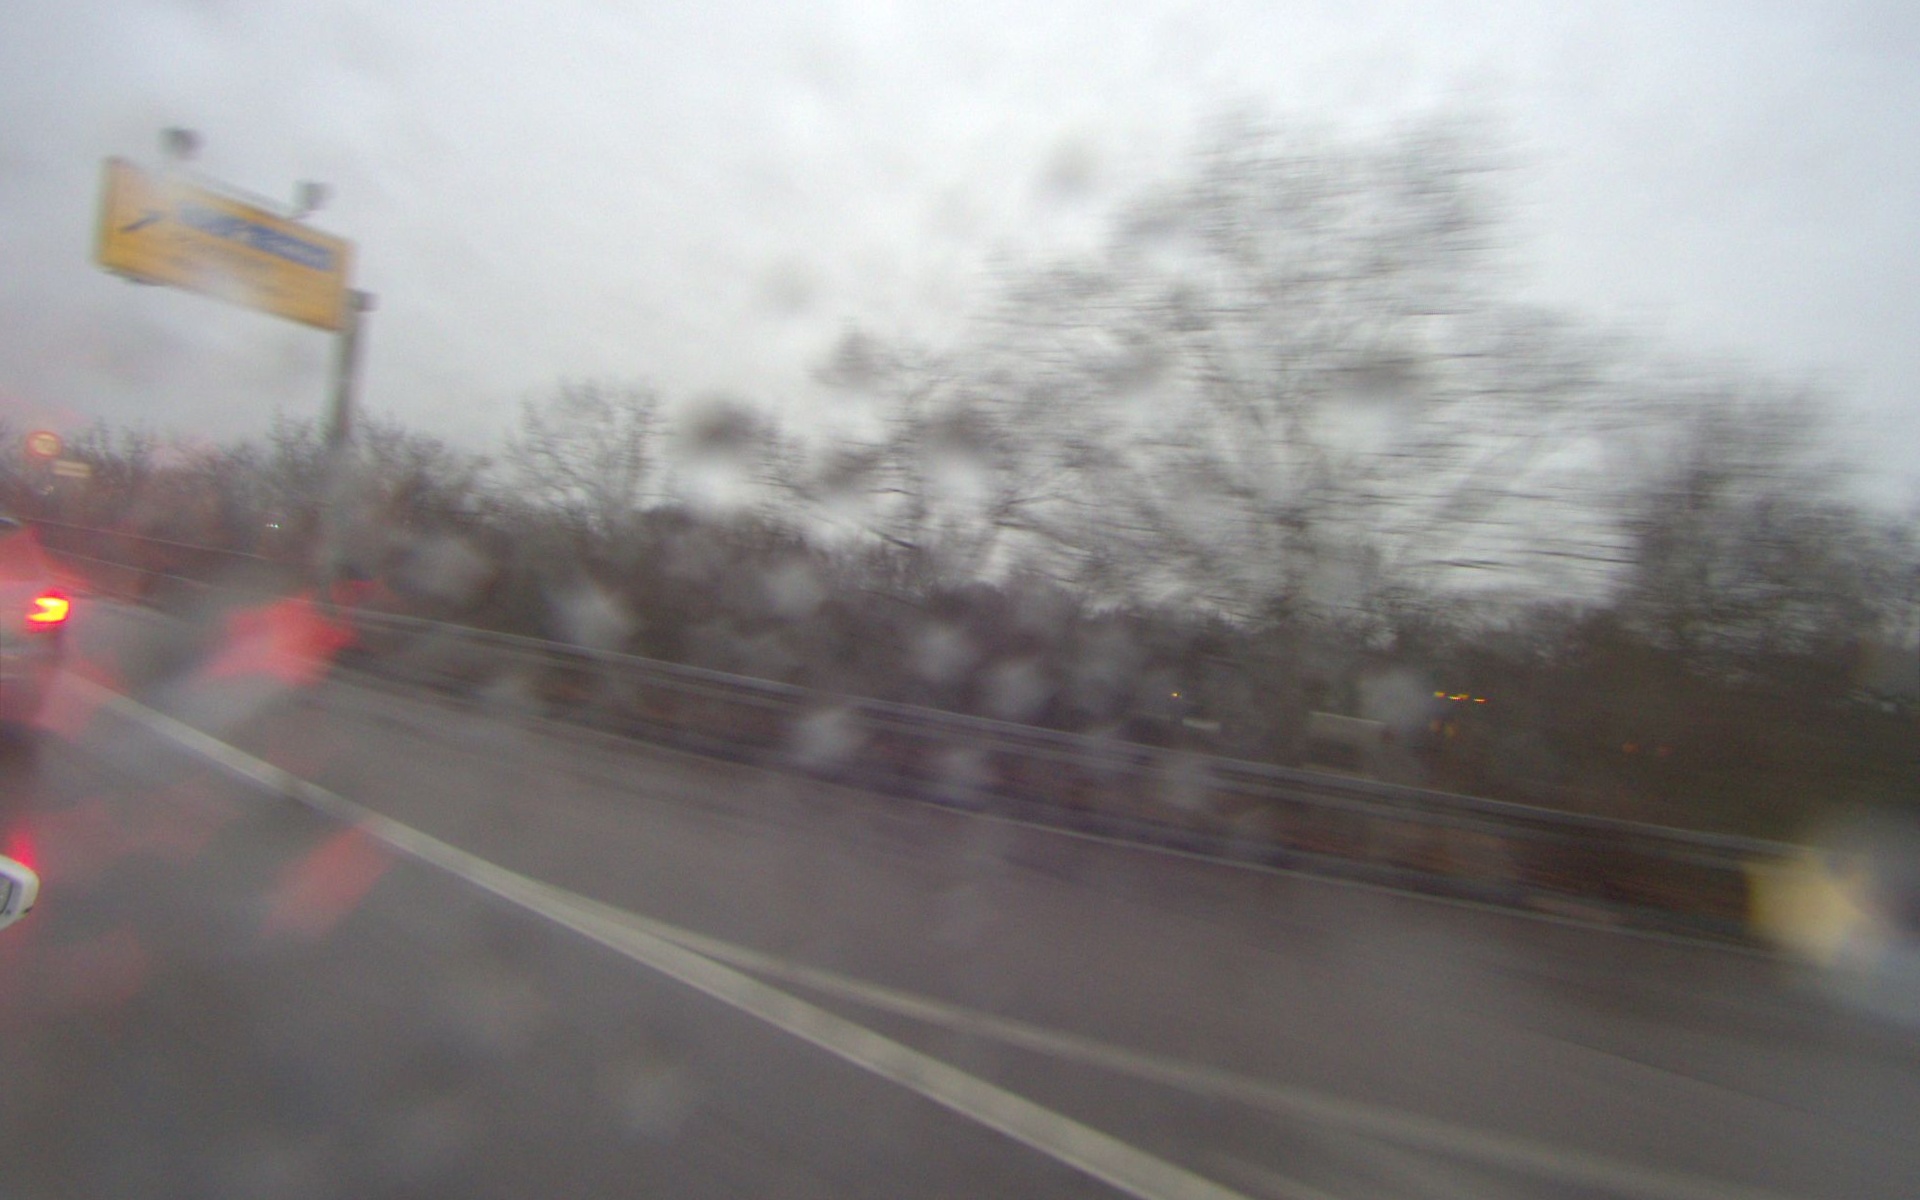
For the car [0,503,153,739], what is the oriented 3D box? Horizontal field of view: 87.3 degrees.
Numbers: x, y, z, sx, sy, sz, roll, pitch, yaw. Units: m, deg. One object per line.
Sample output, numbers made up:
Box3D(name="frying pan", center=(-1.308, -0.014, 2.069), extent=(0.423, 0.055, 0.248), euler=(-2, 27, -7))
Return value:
Box3D(name="car", center=(-7.965, -0.056, 7.453), extent=(4.073, 1.519, 1.994), euler=(6, -1, 36))
